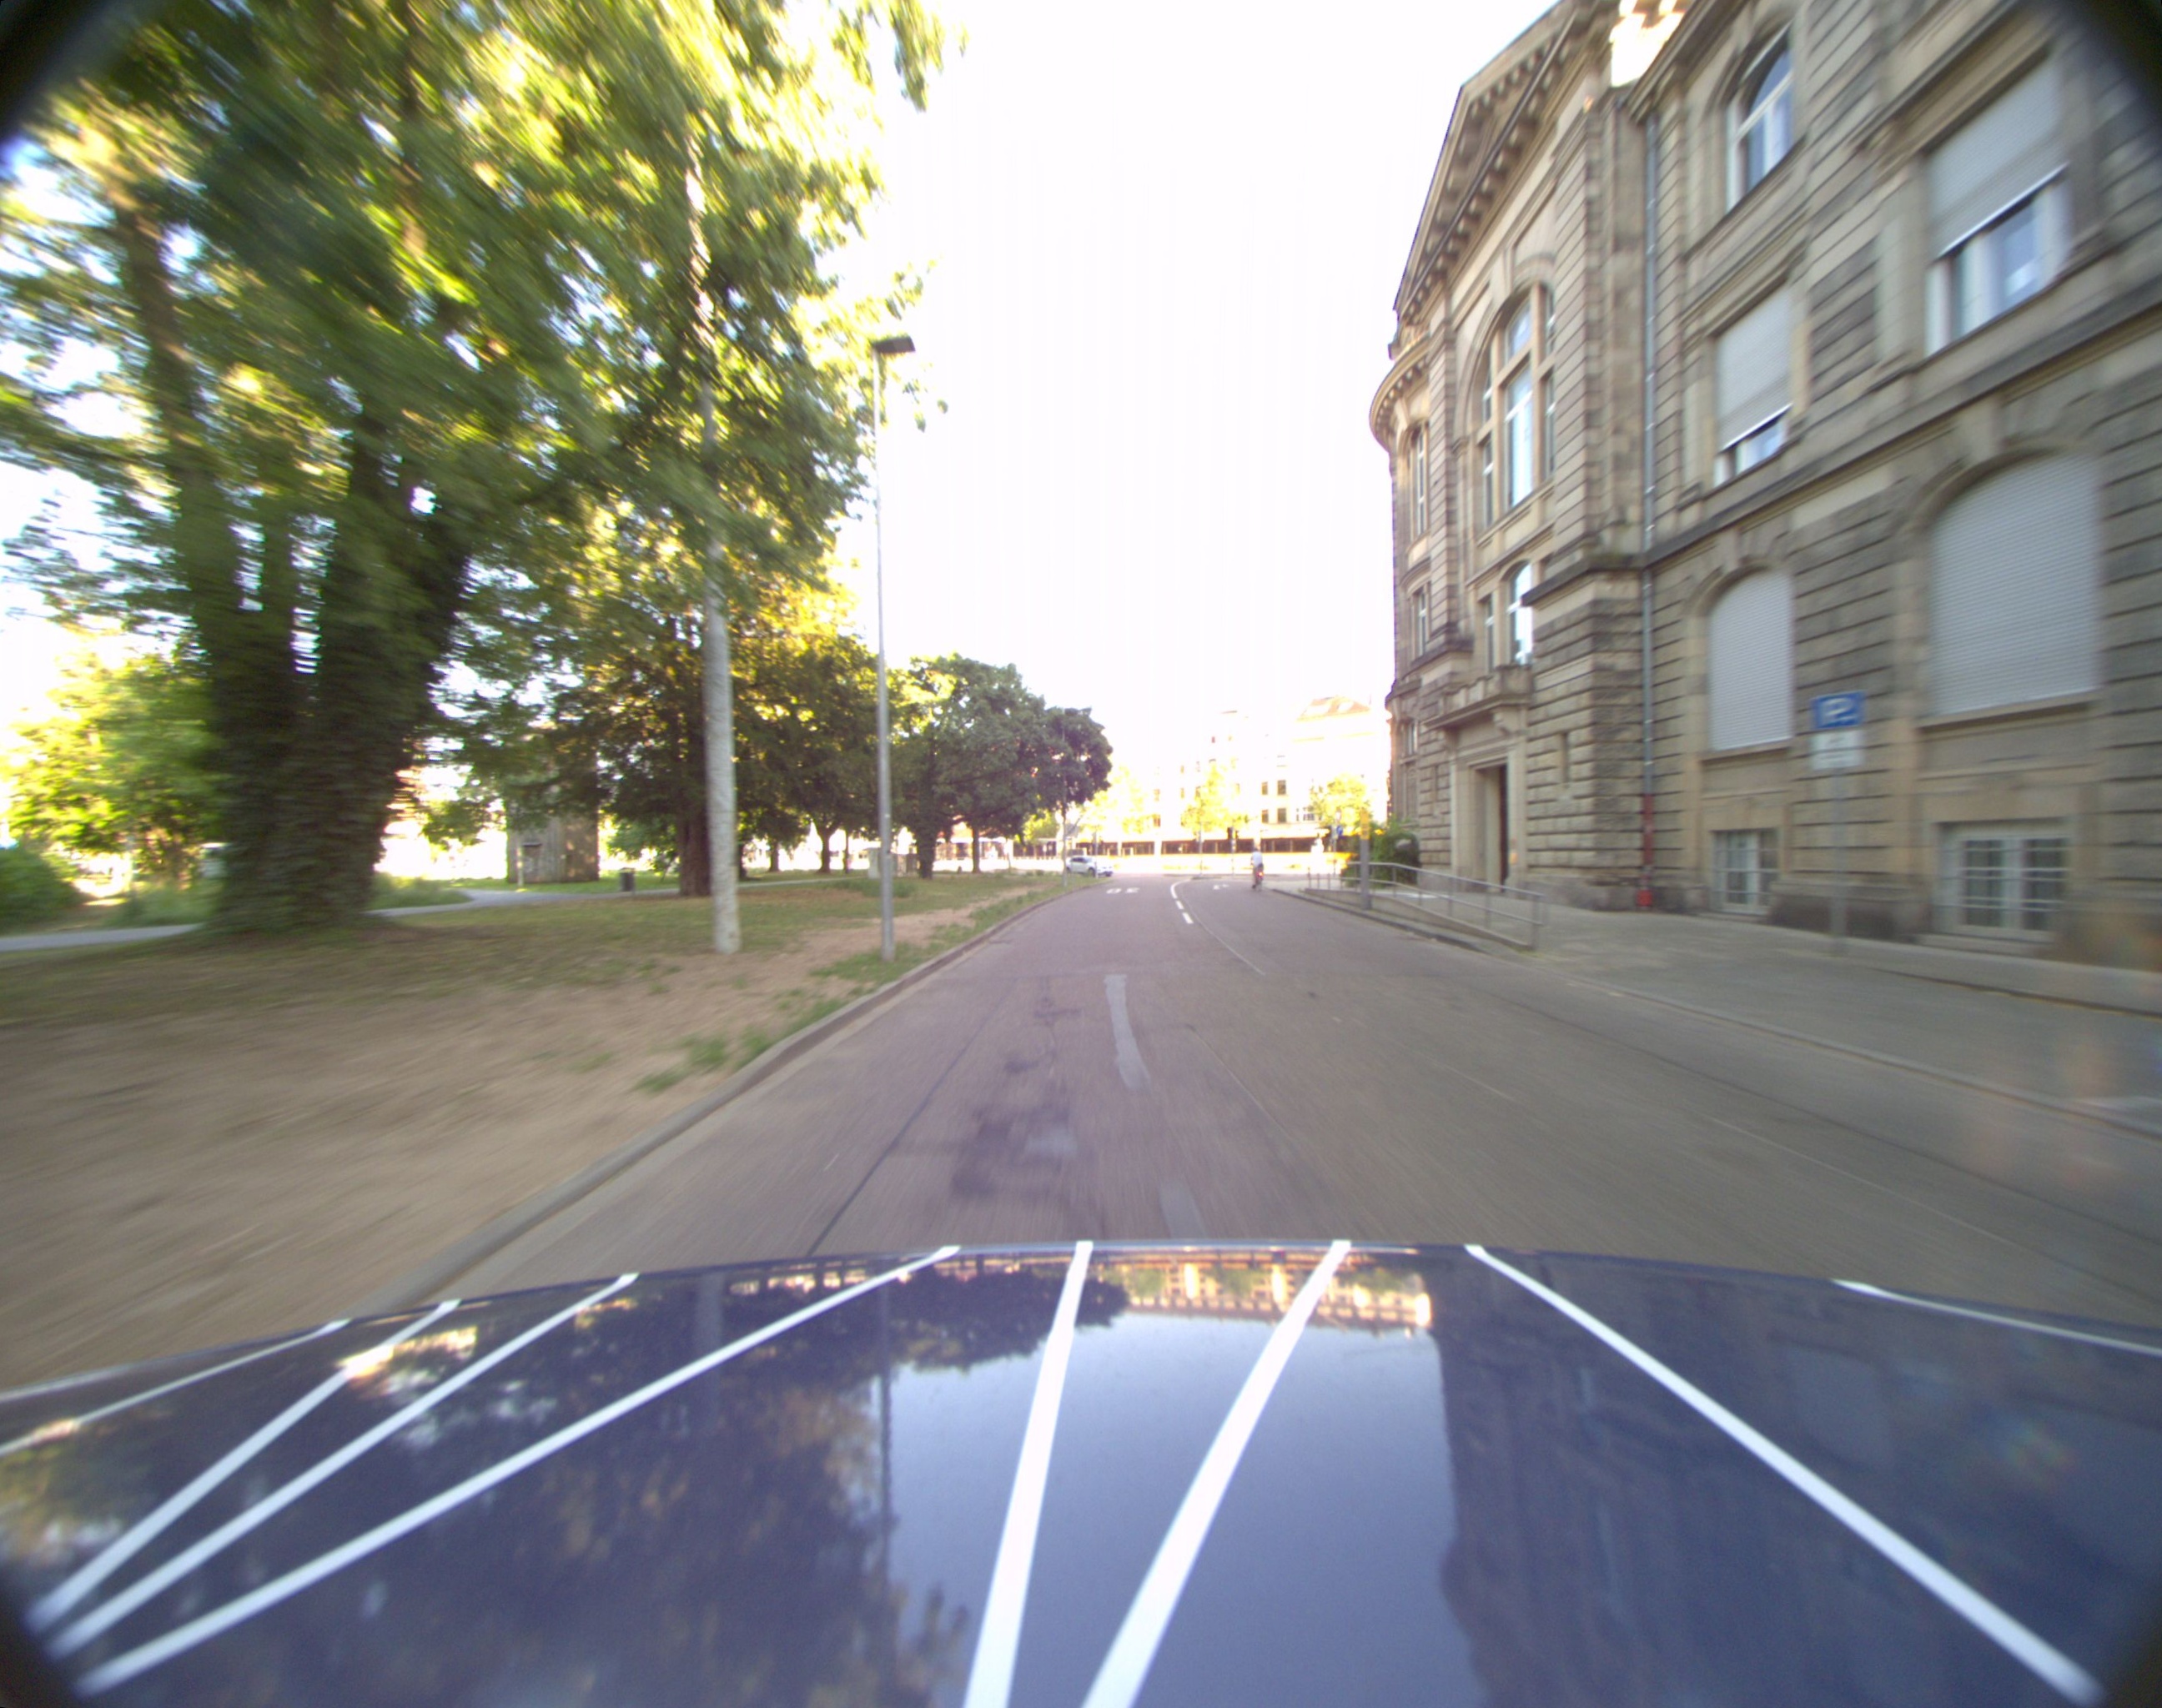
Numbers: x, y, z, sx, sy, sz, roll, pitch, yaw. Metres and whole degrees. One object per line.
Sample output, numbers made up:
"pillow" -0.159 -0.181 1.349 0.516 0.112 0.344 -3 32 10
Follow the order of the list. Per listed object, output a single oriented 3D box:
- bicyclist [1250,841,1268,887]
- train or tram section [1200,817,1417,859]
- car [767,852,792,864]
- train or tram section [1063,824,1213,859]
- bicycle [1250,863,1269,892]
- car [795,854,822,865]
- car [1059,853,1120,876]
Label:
"bicyclist" 7.104 0.403 30.372 0.646 1.796 0.781 0 1 11
"train or tram section" 20.777 -1.366 71.691 19.874 3.538 3.129 0 1 38
"car" -52.771 0.663 132.960 4.761 2.002 2.004 0 1 37
"train or tram section" 5.859 -1.262 83.210 17.427 3.538 3.129 0 1 38
"bicycle" 7.105 0.924 30.358 0.663 1.064 2.155 0 1 11
"car" -45.809 0.992 127.507 4.880 1.787 2.004 -1 1 40
"car" 0.608 0.770 55.762 4.266 1.528 1.838 -2 1 41
